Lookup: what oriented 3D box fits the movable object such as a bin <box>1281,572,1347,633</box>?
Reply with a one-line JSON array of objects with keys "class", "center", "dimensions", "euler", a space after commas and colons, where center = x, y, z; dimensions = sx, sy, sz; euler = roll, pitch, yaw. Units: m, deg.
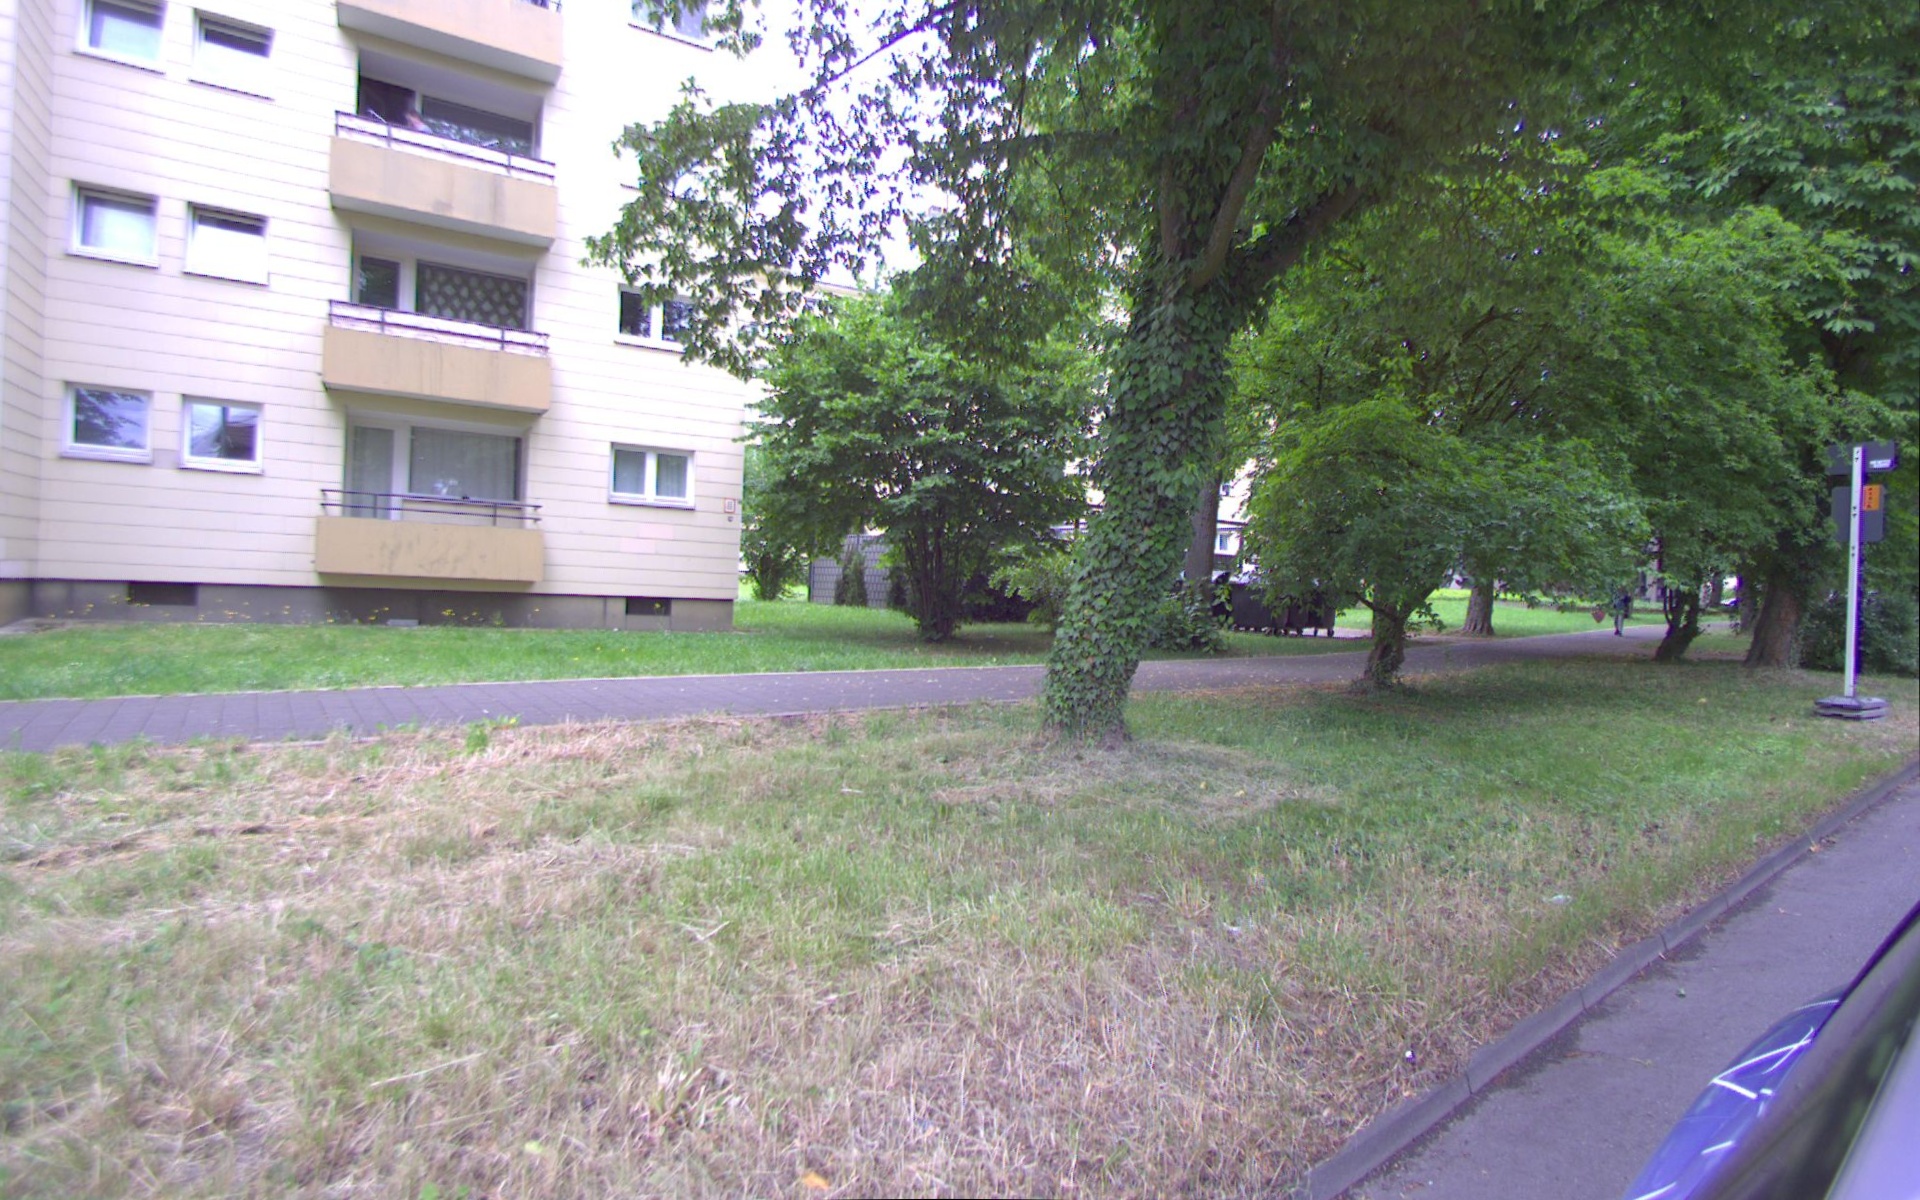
[{"class": "movable object such as a bin", "center": [8.796, 0.053, 25.130], "dimensions": [1.190, 1.431, 1.095], "euler": [3, 2, 41]}]

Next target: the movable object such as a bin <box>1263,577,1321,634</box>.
[{"class": "movable object such as a bin", "center": [8.002, 0.117, 24.404], "dimensions": [1.022, 1.320, 0.946], "euler": [3, 2, 41]}]

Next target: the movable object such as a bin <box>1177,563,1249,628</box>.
[{"class": "movable object such as a bin", "center": [6.124, -0.118, 24.483], "dimensions": [1.190, 1.474, 1.329], "euler": [3, 2, 41]}]

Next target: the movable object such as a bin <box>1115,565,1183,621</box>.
[{"class": "movable object such as a bin", "center": [4.848, -0.182, 25.943], "dimensions": [1.190, 1.358, 1.329], "euler": [3, 2, 41]}]

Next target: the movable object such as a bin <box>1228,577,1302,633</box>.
[{"class": "movable object such as a bin", "center": [7.121, 0.101, 23.622], "dimensions": [1.190, 1.235, 1.329], "euler": [3, 2, 41]}]

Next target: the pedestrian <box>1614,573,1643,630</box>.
[{"class": "pedestrian", "center": [21.102, 0.046, 31.954], "dimensions": [0.560, 1.761, 0.565], "euler": [1, 3, -42]}]
